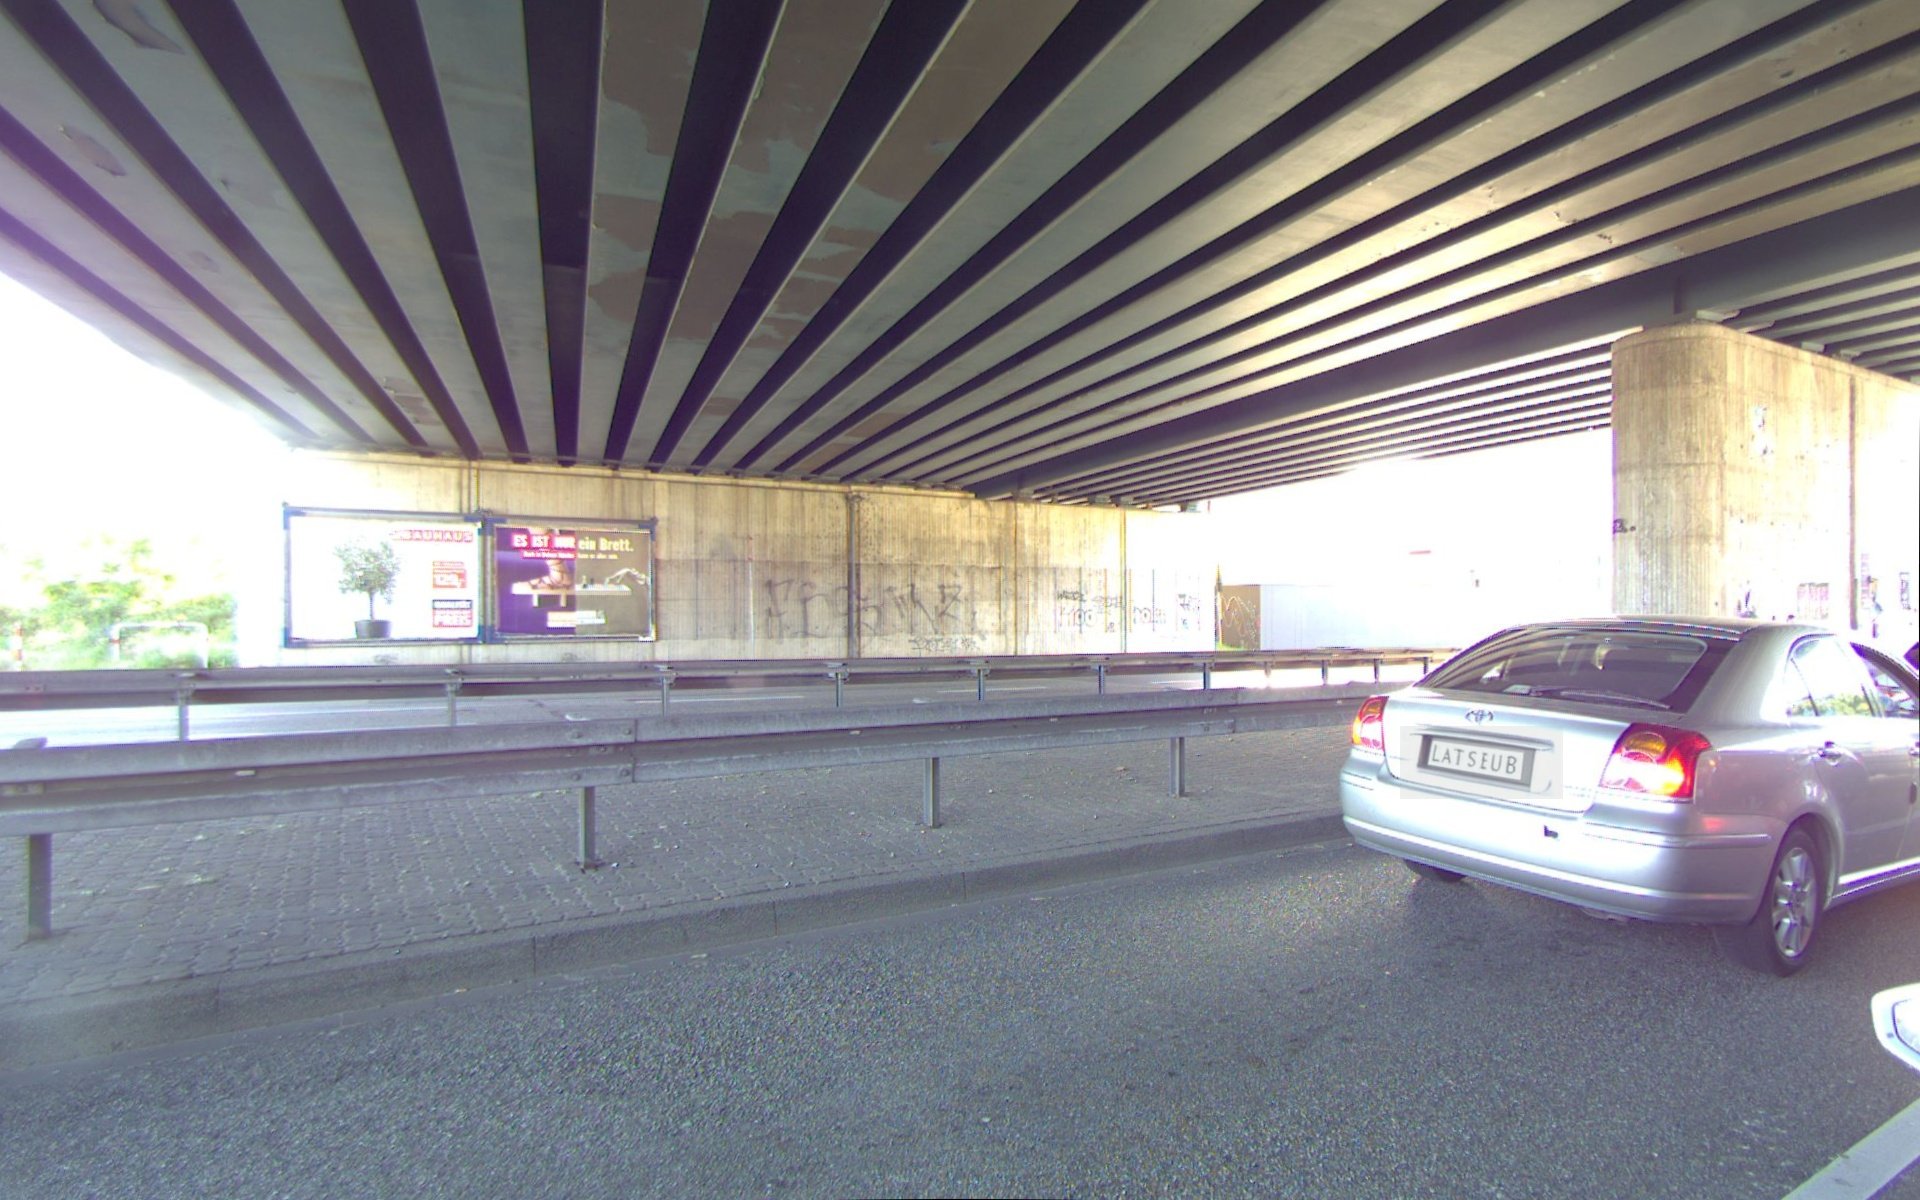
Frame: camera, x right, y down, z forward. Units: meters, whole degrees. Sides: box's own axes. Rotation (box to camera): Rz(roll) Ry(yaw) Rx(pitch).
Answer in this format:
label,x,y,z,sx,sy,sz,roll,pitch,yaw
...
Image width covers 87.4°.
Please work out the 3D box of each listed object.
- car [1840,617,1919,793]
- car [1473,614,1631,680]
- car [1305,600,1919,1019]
label,x,y,z,sx,sy,sz,roll,pitch,yaw
car,9.612,0.898,8.881,3.769,1.429,1.684,1,0,-31
car,15.805,1.227,26.752,4.315,1.638,1.842,1,-2,-32
car,4.025,0.784,5.432,4.347,1.474,1.688,1,0,-31
